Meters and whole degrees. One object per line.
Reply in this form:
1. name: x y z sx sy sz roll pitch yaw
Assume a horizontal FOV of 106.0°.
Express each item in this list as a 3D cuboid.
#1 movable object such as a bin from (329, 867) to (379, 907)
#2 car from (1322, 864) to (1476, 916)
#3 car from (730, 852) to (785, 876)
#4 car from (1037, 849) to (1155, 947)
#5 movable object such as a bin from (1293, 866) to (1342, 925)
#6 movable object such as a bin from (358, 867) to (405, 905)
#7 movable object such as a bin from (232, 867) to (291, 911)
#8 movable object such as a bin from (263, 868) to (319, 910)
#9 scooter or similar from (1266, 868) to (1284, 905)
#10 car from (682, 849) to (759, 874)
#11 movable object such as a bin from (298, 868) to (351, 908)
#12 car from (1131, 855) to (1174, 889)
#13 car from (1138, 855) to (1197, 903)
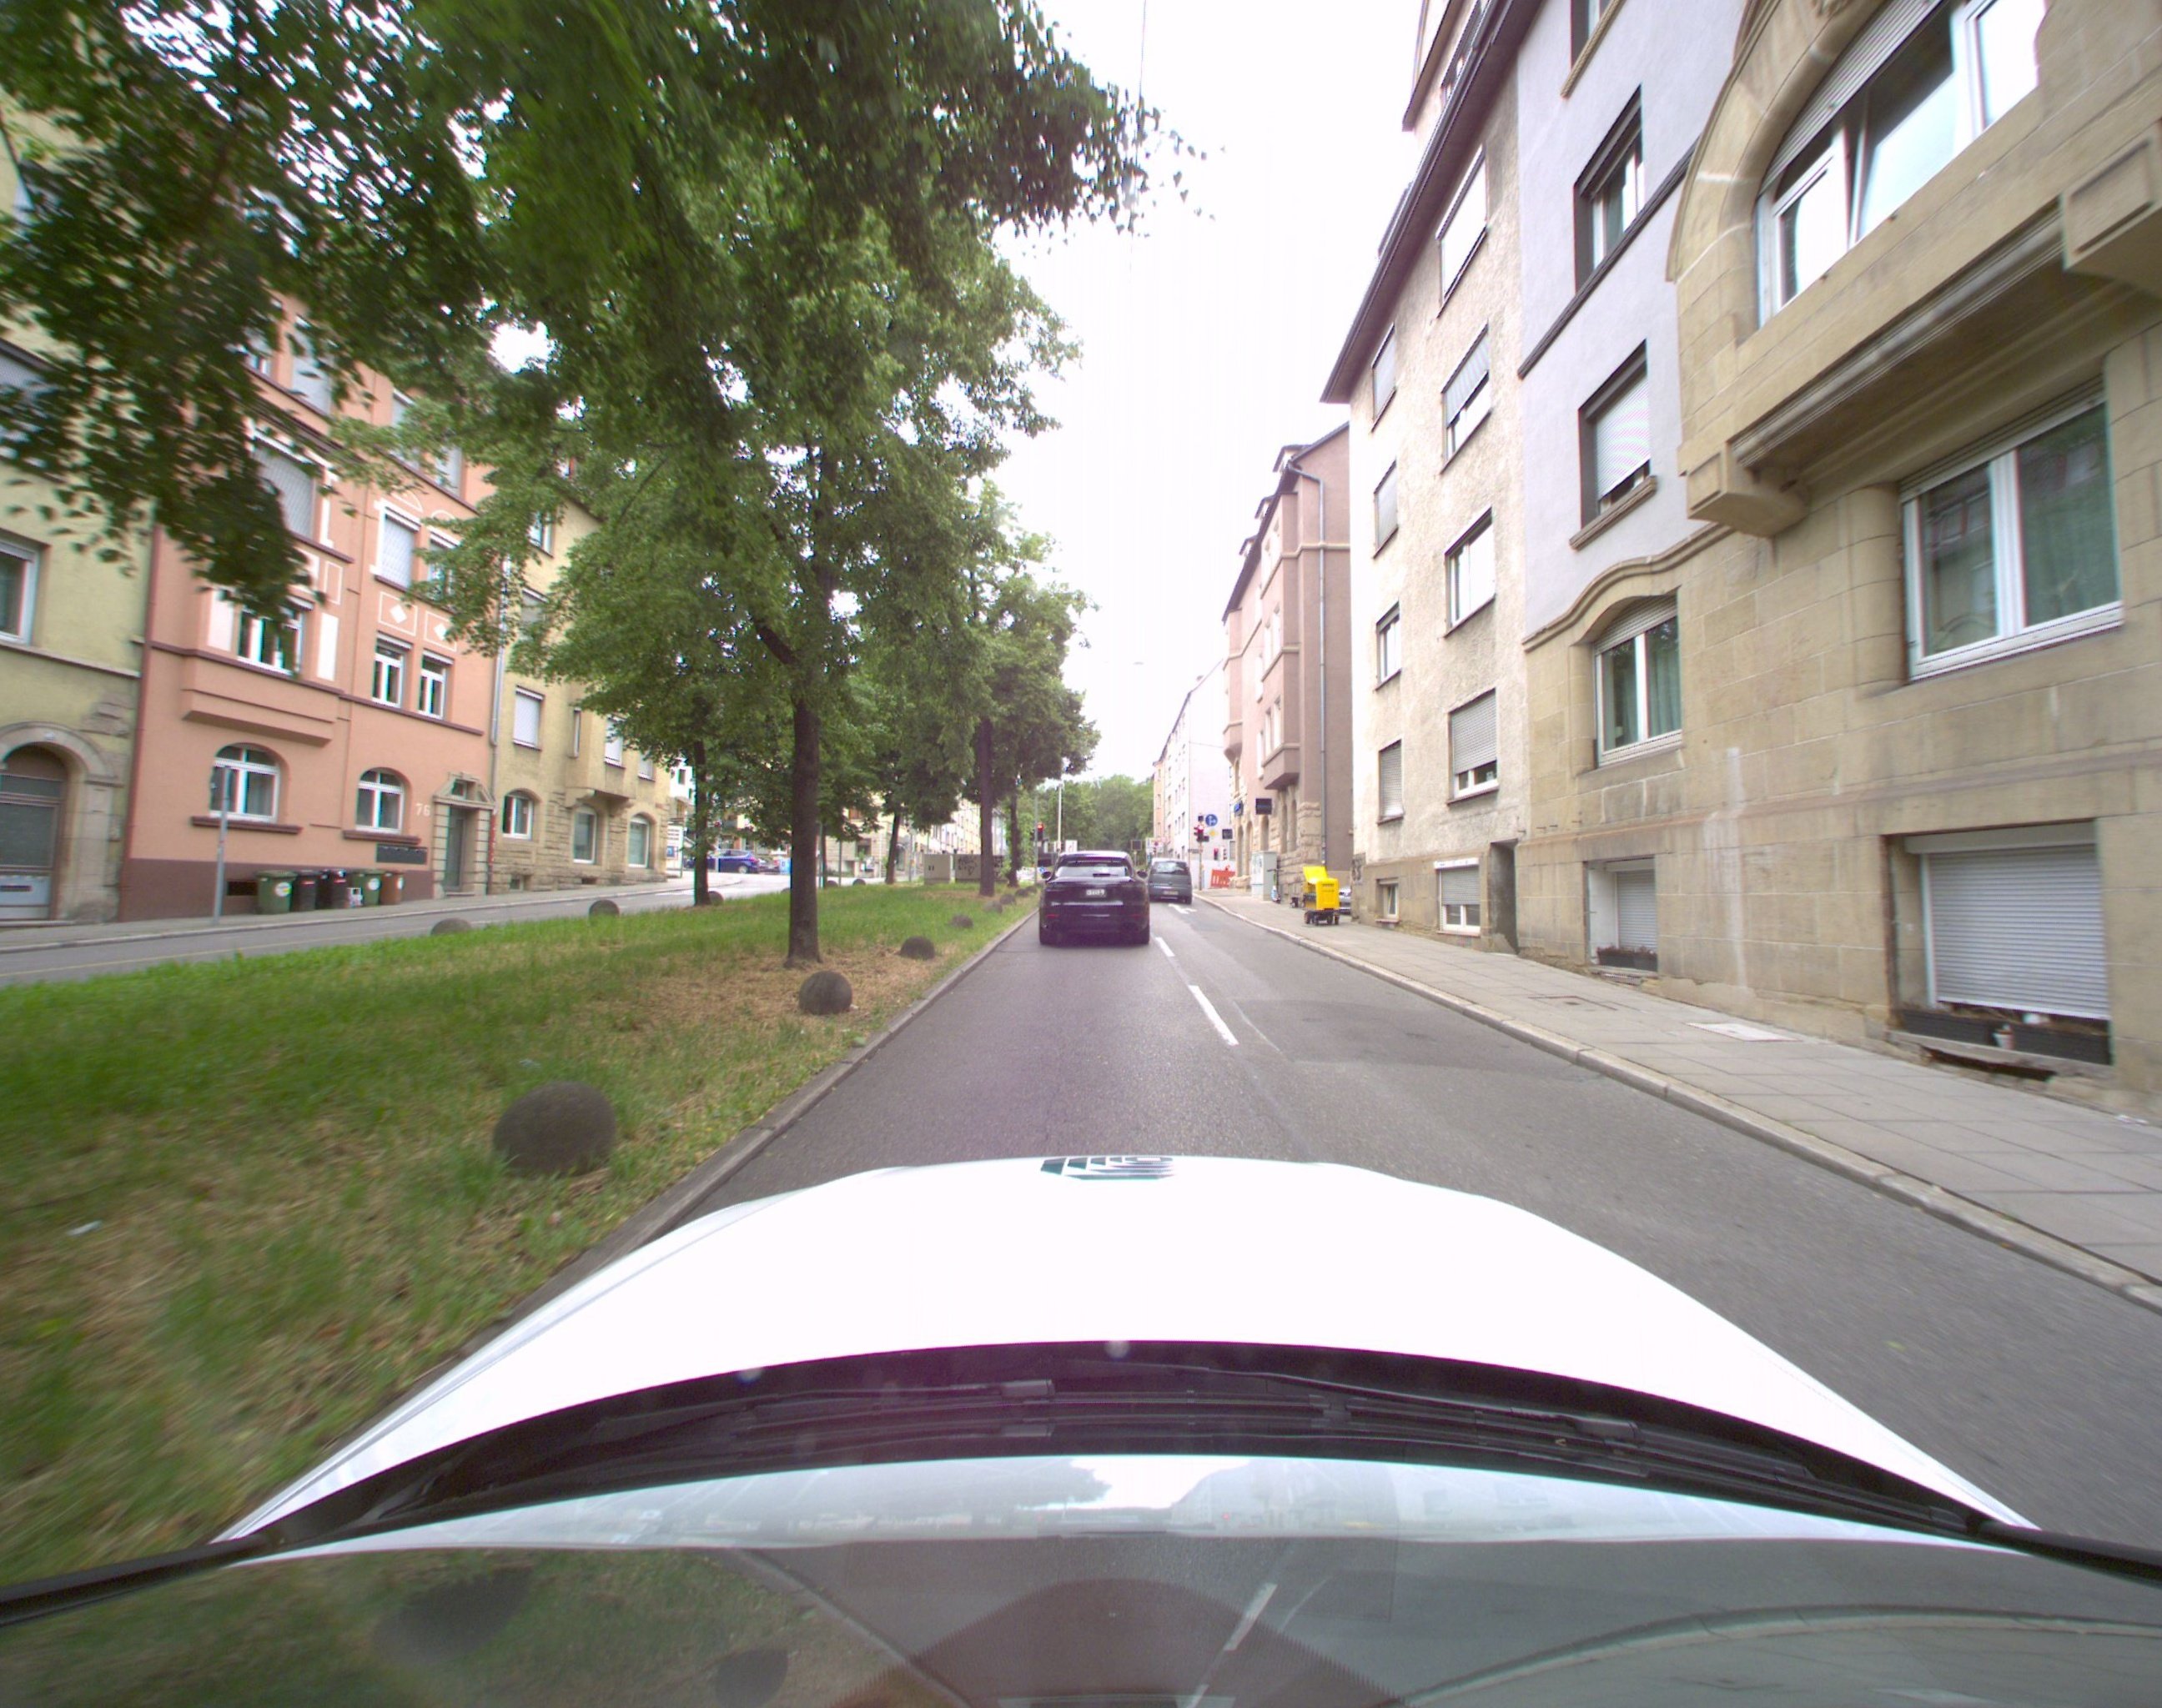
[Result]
1. movable object such as a bin: -17.431 0.783 19.540 0.607 0.904 0.601 2 -1 -3
2. car: 9.560 1.064 24.723 3.972 1.403 1.801 1 2 1
3. car: -24.213 0.783 60.958 3.948 1.665 1.894 -1 -3 34
4. car: 0.324 0.745 15.744 1.986 1.653 4.002 0 0 2
5. movable object such as a bin: 5.981 1.036 20.680 0.717 1.421 1.692 0 -2 -1
6. movable object such as a bin: -17.343 0.798 20.196 0.607 0.904 0.601 2 -1 -3
7. movable object such as a bin: -17.461 0.744 17.367 0.607 0.904 0.601 2 -1 -3
8. movable object such as a bin: -17.451 0.765 18.002 0.607 0.904 0.601 2 -1 -3
9. scooter or similar: 6.701 1.108 28.171 0.399 1.188 1.356 -1 1 5
10. car: -22.748 0.462 51.580 4.214 1.510 1.790 1 0 -17
11. movable object such as a bin: -17.390 0.774 18.723 0.607 0.904 0.601 2 -1 -3
12. car: 3.528 0.893 40.802 1.986 1.653 4.002 0 -1 2
13. car: 3.177 0.893 30.491 1.746 1.593 3.630 3 0 0
